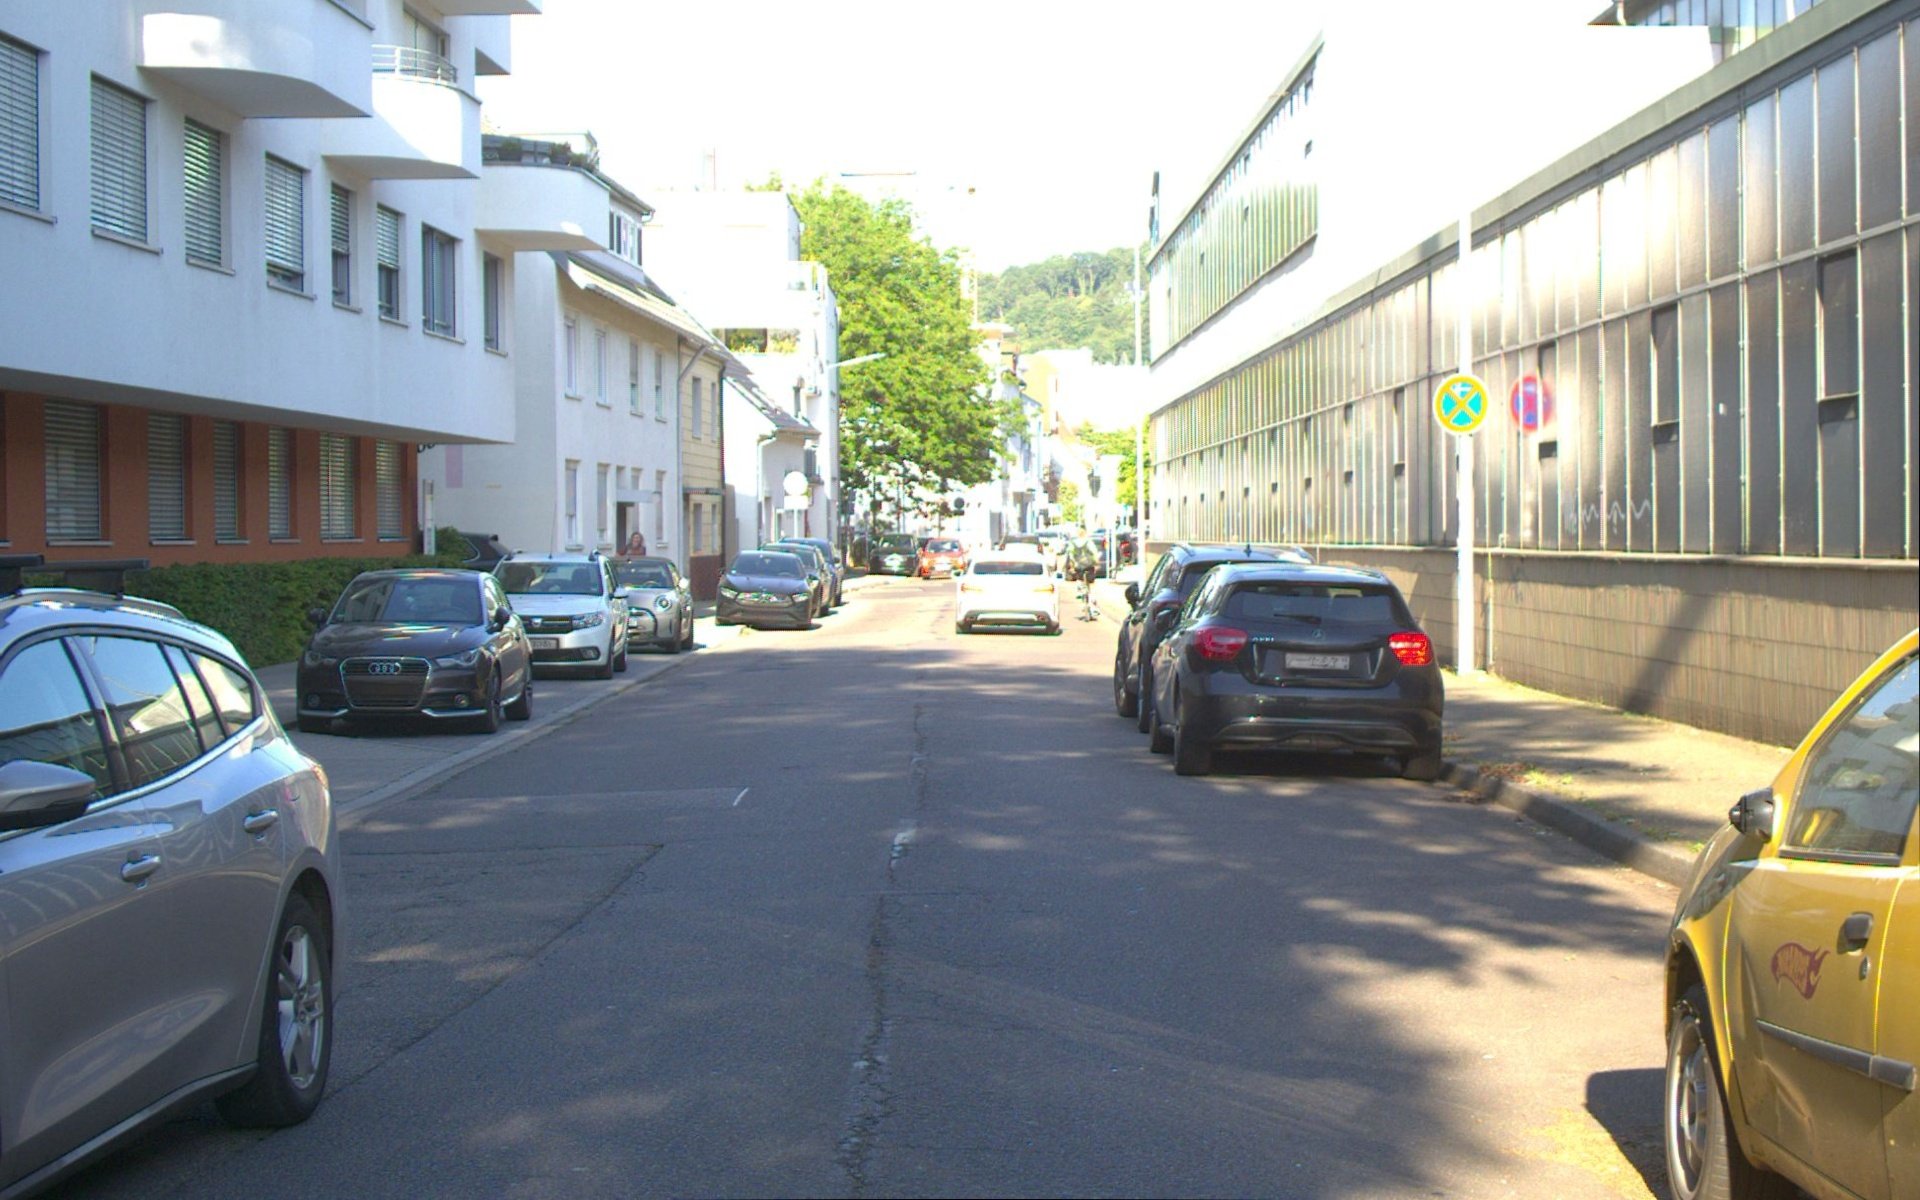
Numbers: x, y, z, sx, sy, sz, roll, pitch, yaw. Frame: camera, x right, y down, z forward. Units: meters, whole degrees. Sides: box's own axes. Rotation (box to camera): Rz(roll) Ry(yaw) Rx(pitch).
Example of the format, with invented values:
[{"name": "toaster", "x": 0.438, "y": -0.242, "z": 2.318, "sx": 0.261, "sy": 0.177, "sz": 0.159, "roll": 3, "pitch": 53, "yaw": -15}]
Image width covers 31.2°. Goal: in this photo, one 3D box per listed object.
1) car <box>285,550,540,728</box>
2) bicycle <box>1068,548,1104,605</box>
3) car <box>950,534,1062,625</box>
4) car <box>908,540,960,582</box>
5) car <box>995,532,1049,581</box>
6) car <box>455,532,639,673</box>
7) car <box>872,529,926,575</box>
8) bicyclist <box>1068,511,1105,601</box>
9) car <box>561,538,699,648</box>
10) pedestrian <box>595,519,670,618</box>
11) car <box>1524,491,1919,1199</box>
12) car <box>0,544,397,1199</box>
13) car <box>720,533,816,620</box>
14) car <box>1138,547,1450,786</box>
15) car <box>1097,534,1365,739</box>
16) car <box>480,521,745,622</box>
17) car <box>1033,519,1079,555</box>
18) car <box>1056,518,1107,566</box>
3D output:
[{"name": "car", "x": -4.822, "y": 0.310, "z": 30.708, "sx": 1.674, "sy": 1.428, "sz": 3.771, "roll": 2, "pitch": 0, "yaw": -1}, {"name": "bicycle", "x": 2.532, "y": -0.473, "z": 69.177, "sx": 0.698, "sy": 1.126, "sz": 2.402, "roll": 1, "pitch": 0, "yaw": 2}, {"name": "car", "x": 0.770, "y": -0.366, "z": 59.608, "sx": 1.842, "sy": 1.486, "sz": 4.144, "roll": 1, "pitch": 1, "yaw": 0}, {"name": "car", "x": -0.941, "y": -1.426, "z": 126.226, "sx": 1.842, "sy": 1.486, "sz": 4.144, "roll": 1, "pitch": 1, "yaw": 0}, {"name": "car", "x": 2.313, "y": -1.661, "z": 129.638, "sx": 1.853, "sy": 1.785, "sz": 4.608, "roll": 1, "pitch": 1, "yaw": -1}, {"name": "car", "x": -5.054, "y": 0.006, "z": 42.622, "sx": 1.857, "sy": 1.581, "sz": 4.622, "roll": 2, "pitch": 0, "yaw": -2}, {"name": "car", "x": -2.454, "y": -1.941, "z": 138.901, "sx": 1.853, "sy": 1.785, "sz": 4.607, "roll": 1, "pitch": 1, "yaw": 2}, {"name": "bicyclist", "x": 2.544, "y": -0.881, "z": 69.282, "sx": 0.698, "sy": 1.784, "sz": 1.040, "roll": 1, "pitch": 0, "yaw": 2}, {"name": "car", "x": -4.954, "y": -0.123, "z": 52.041, "sx": 1.667, "sy": 1.530, "sz": 3.857, "roll": 2, "pitch": 0, "yaw": 0}, {"name": "pedestrian", "x": -6.254, "y": -0.596, "z": 65.696, "sx": 0.862, "sy": 1.812, "sz": 1.130, "roll": 5, "pitch": 2, "yaw": 24}, {"name": "car", "x": 2.399, "y": 0.643, "z": 6.729, "sx": 1.750, "sy": 1.629, "sz": 4.002, "roll": 1, "pitch": 0, "yaw": -2}, {"name": "car", "x": -2.803, "y": 0.666, "z": 7.946, "sx": 1.900, "sy": 1.531, "sz": 4.621, "roll": -2, "pitch": 1, "yaw": 4}, {"name": "car", "x": -3.604, "y": -0.450, "z": 64.778, "sx": 1.684, "sy": 1.530, "sz": 4.335, "roll": 2, "pitch": 0, "yaw": -3}, {"name": "car", "x": 2.291, "y": 0.410, "z": 24.686, "sx": 1.750, "sy": 1.486, "sz": 4.621, "roll": 2, "pitch": 1, "yaw": 0}, {"name": "car", "x": 2.269, "y": 0.274, "z": 29.870, "sx": 1.807, "sy": 1.581, "sz": 4.405, "roll": 2, "pitch": 0, "yaw": -2}, {"name": "car", "x": -5.884, "y": -0.489, "z": 58.564, "sx": 4.320, "sy": 1.530, "sz": 1.690, "roll": 2, "pitch": 0, "yaw": -1}, {"name": "car", "x": 4.173, "y": -2.721, "z": 148.856, "sx": 1.842, "sy": 1.486, "sz": 4.144, "roll": 1, "pitch": 1, "yaw": 3}, {"name": "car", "x": 4.287, "y": -2.038, "z": 121.478, "sx": 1.629, "sy": 1.581, "sz": 4.069, "roll": -2, "pitch": 1, "yaw": 1}]
